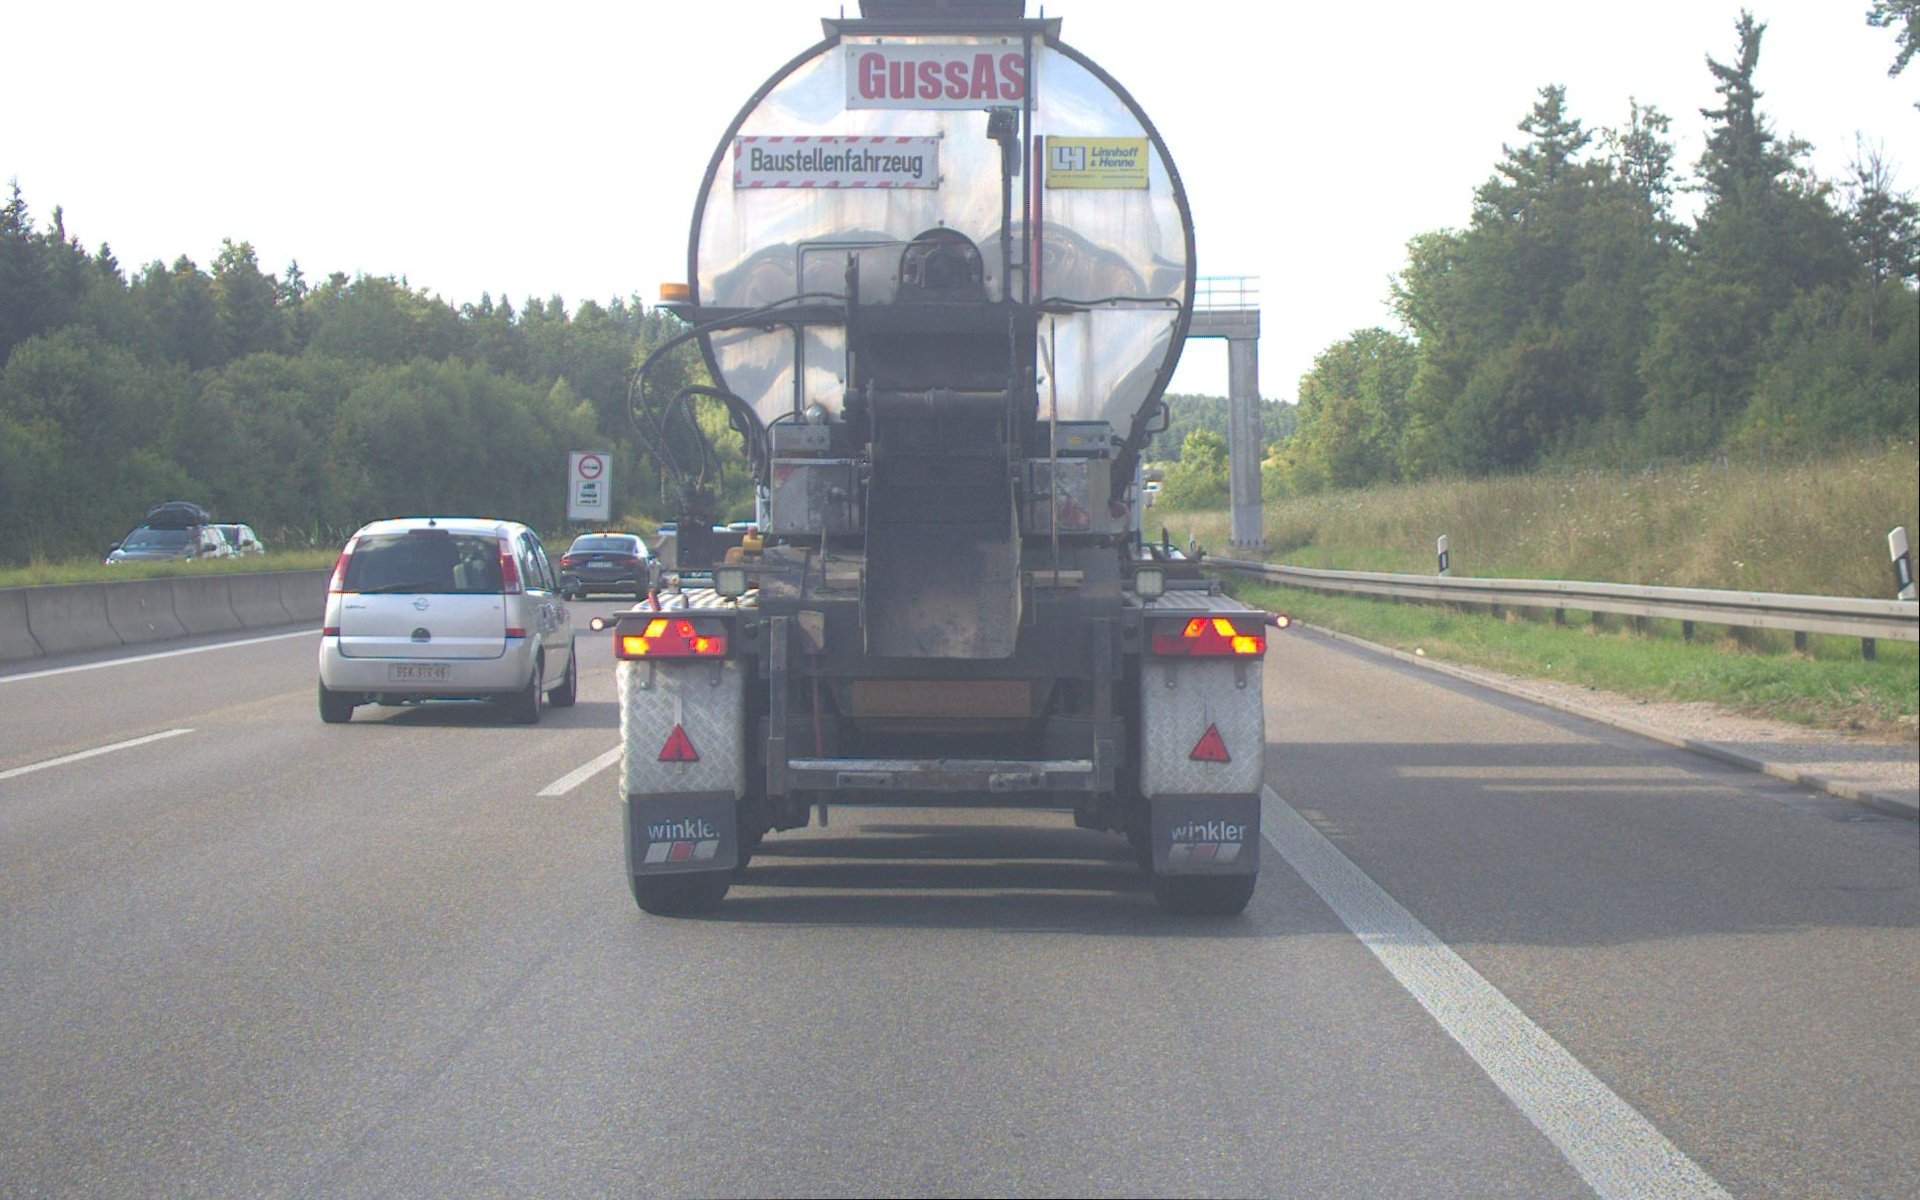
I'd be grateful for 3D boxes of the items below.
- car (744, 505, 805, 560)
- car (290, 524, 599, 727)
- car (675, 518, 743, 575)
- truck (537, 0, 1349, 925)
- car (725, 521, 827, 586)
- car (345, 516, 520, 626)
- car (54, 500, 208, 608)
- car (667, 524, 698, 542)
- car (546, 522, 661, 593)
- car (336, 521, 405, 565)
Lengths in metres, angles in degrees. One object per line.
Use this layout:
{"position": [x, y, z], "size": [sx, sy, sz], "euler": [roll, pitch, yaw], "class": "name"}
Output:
{"position": [-6.055, -2.223, 112.568], "size": [1.845, 1.776, 4.000], "euler": [0, 1, -1], "class": "car"}
{"position": [-4.083, 0.143, 27.871], "size": [1.835, 1.512, 4.333], "euler": [0, 1, 0], "class": "car"}
{"position": [-6.964, -1.487, 95.683], "size": [1.618, 1.539, 3.520], "euler": [1, 1, 0], "class": "car"}
{"position": [-0.006, -1.032, 17.986], "size": [2.913, 4.143, 11.270], "euler": [0, 1, 1], "class": "truck"}
{"position": [-4.329, -1.127, 81.703], "size": [2.060, 1.494, 5.736], "euler": [0, 1, 0], "class": "car"}
{"position": [-7.532, -0.449, 49.446], "size": [1.835, 1.512, 4.333], "euler": [0, 1, 0], "class": "car"}
{"position": [-15.886, -0.898, 66.056], "size": [1.993, 2.007, 4.072], "euler": [0, 1, -1], "class": "car"}
{"position": [-19.128, -4.634, 237.295], "size": [1.816, 1.286, 3.544], "euler": [0, 1, 1], "class": "car"}
{"position": [-7.392, -0.911, 71.588], "size": [1.856, 1.426, 4.841], "euler": [0, 1, 0], "class": "car"}
{"position": [-22.248, -2.167, 129.881], "size": [1.879, 1.622, 4.570], "euler": [0, 1, 0], "class": "car"}
